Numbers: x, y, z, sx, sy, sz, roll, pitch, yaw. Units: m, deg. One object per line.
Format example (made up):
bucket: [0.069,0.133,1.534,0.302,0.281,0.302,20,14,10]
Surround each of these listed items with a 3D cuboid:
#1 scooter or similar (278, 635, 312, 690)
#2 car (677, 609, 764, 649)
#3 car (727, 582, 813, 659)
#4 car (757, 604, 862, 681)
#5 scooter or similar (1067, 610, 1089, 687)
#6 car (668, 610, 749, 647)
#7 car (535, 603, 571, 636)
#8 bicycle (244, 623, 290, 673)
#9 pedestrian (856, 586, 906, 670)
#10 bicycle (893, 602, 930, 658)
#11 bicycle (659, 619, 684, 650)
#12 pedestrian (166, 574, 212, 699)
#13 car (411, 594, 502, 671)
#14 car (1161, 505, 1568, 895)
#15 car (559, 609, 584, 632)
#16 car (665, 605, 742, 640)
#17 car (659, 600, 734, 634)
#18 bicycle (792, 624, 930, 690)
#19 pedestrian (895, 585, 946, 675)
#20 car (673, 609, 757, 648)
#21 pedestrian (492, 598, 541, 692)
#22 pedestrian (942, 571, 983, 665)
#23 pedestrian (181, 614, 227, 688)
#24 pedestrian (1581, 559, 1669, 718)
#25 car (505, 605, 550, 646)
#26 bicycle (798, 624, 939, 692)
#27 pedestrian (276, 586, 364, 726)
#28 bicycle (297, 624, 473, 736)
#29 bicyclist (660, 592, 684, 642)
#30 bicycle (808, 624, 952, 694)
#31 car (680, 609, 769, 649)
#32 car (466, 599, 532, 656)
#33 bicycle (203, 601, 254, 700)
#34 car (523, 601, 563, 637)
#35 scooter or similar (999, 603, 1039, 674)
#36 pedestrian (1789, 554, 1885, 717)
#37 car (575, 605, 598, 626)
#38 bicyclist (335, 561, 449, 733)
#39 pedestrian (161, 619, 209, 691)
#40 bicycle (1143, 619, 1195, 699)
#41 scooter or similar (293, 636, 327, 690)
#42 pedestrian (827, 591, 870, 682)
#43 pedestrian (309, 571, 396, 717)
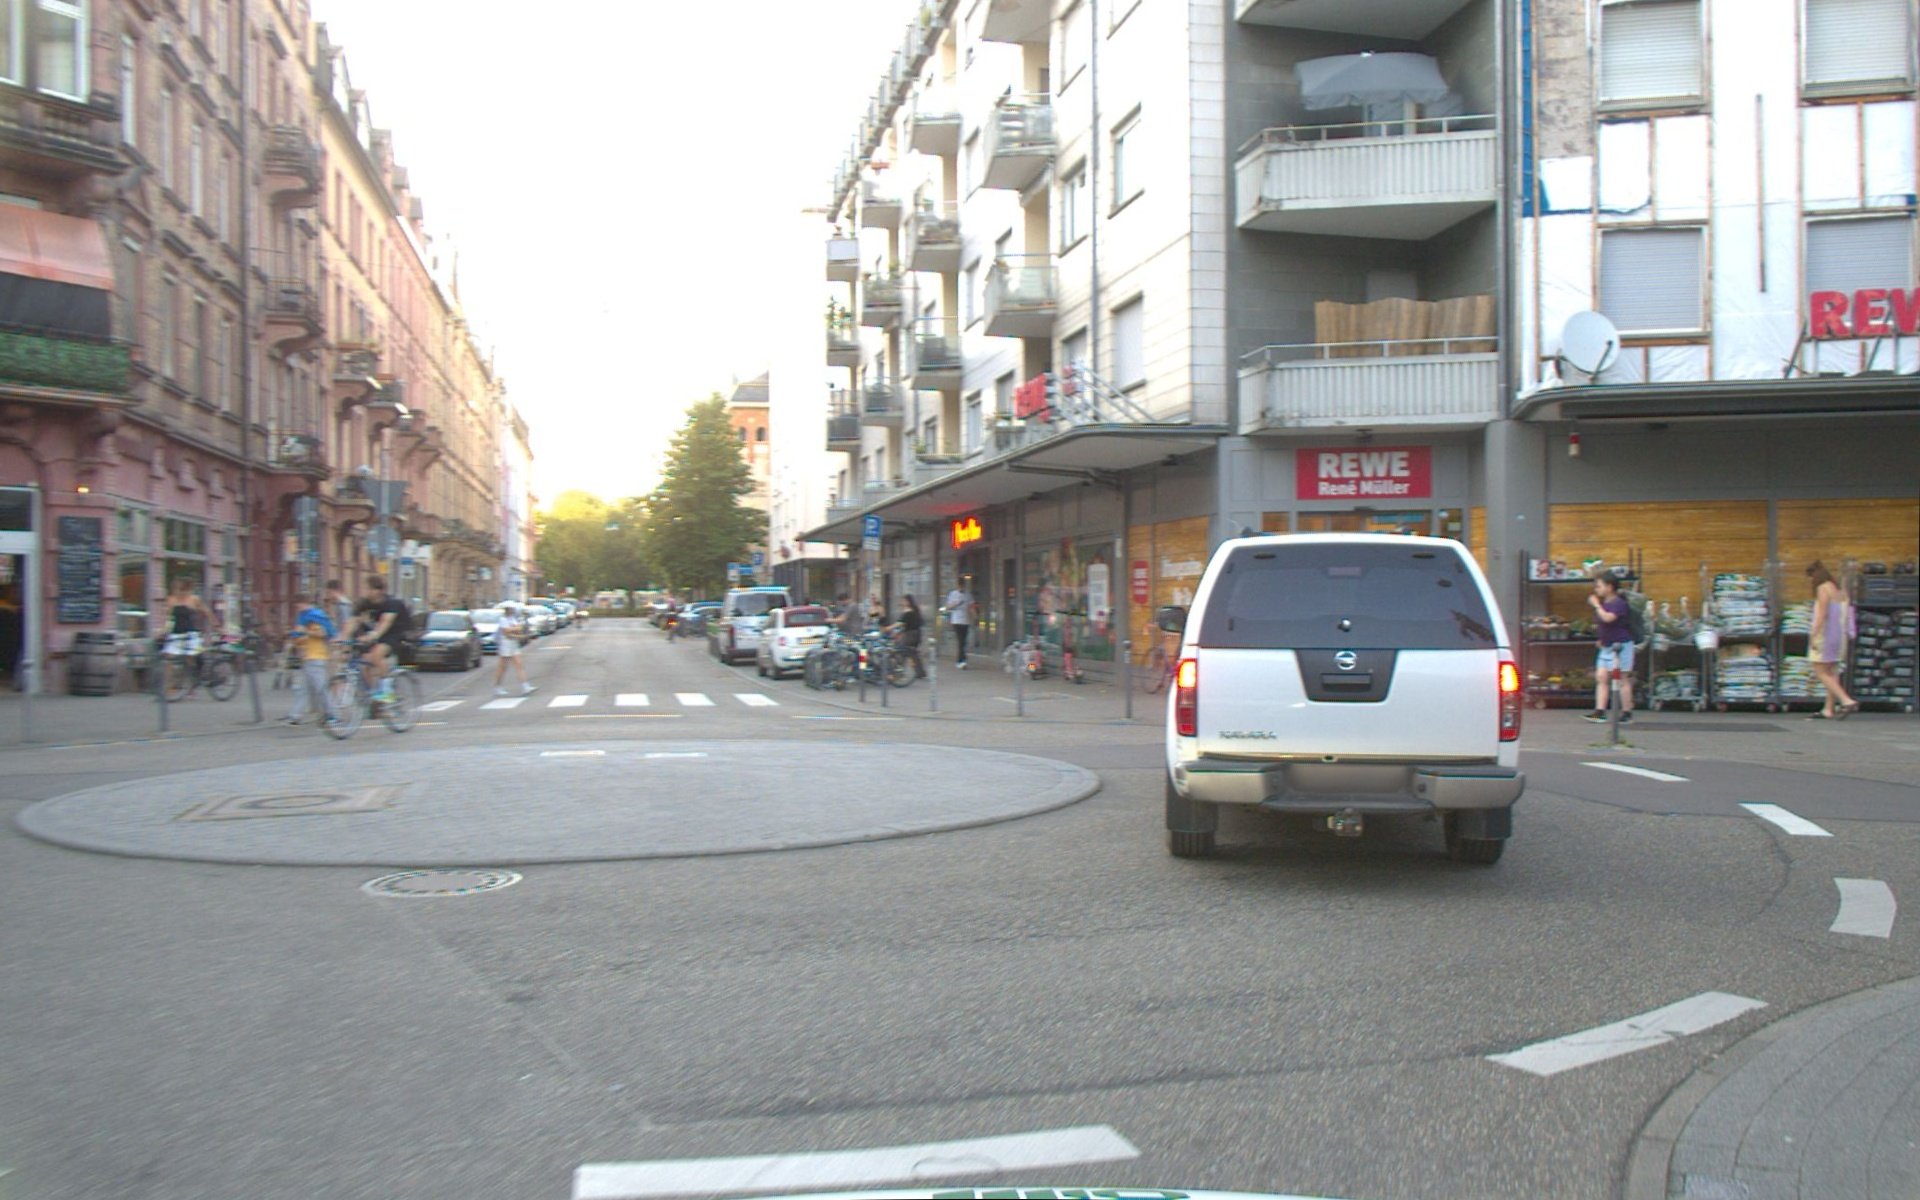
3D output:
scooter or similar: [-11.970,1.120,29.758,0.231,0.945,1.249,2,-1,-36]
car: [-11.283,1.360,77.846,3.918,1.780,1.834,1,-1,-13]
car: [-5.216,0.561,44.919,1.909,1.967,3.987,1,-1,-12]
car: [-3.353,0.908,36.360,1.802,1.569,3.987,1,-1,-12]
scooter or similar: [2.008,0.814,28.122,0.215,1.259,0.965,1,1,-4]
car: [-12.672,1.431,83.228,3.918,1.780,1.834,1,-1,-13]
car: [-22.824,1.085,92.790,1.802,1.780,3.987,1,-1,-12]
bicycle: [-15.160,1.033,36.232,0.380,1.055,2.476,1,-1,-11]
pedestrian: [-1.620,0.570,33.897,0.717,1.692,0.691,2,-2,-44]
bicycle: [-1.291,0.784,43.799,0.546,1.432,2.087,1,-1,-14]
bicycle: [-11.457,1.348,65.635,0.824,1.192,1.929,1,-1,-14]
pedestrian: [-11.757,0.559,25.220,0.499,1.872,0.566,2,-2,-34]
car: [-12.368,0.804,40.825,1.802,1.780,3.987,1,-1,-12]
car: [2.349,0.433,10.454,1.896,1.841,5.005,1,1,10]
car: [-30.902,1.631,131.571,1.802,1.780,3.987,1,-1,-12]
car: [-13.587,1.210,87.498,3.918,1.780,1.834,1,-1,-13]
car: [-14.381,0.934,90.353,3.918,1.780,1.834,1,-1,-13]
bicycle: [-1.809,1.032,30.328,2.422,1.056,0.614,-3,0,-17]
pedestrian: [-0.762,0.572,31.639,0.712,1.692,0.695,2,-1,-30]
car: [-11.934,1.394,80.418,3.918,1.780,1.834,1,-1,-13]
pedestrian: [-7.933,0.801,29.626,0.784,1.649,0.941,1,-1,-14]
pedestrian: [0.055,0.385,35.005,0.707,1.940,0.700,1,-1,-12]
pedestrian: [-13.452,0.902,29.440,0.638,1.308,0.537,1,-1,-16]
pedestrian: [7.221,0.411,17.992,0.701,1.681,0.714,1,-1,5]
car: [-19.847,1.172,75.955,1.802,1.780,3.987,1,-1,-12]
bicycle: [-1.638,1.023,29.682,2.422,1.056,0.614,-3,0,-17]
pedestrian: [-8.235,0.717,21.311,0.887,1.767,0.614,1,-1,-9]
bicycle: [-6.509,0.884,18.837,0.821,1.192,1.936,1,-1,20]
bicyclist: [-11.401,0.669,65.454,0.824,1.978,0.782,1,-1,-14]
bicycle: [-1.404,1.024,29.039,2.422,1.056,0.614,-3,0,-17]
car: [-10.783,1.330,75.671,3.918,1.780,1.834,1,-1,-13]
car: [-15.170,0.893,54.556,1.802,1.780,4.149,1,-1,-12]
bicycle: [-11.272,0.769,25.522,0.417,1.468,1.896,1,-1,-16]
car: [-21.429,1.007,85.124,1.802,1.780,3.987,1,-1,-12]
scooter or similar: [1.129,0.738,31.944,0.431,1.313,1.664,1,-1,-9]
pedestrian: [9.702,0.390,18.315,0.705,1.756,0.666,1,-1,-2]
car: [-32.069,1.334,142.021,1.802,1.780,3.987,1,-1,-12]
bicyclist: [-6.484,0.527,18.903,0.821,1.909,0.878,0,-1,21]
pedestrian: [-13.245,0.933,28.274,0.638,1.212,0.537,1,-1,-16]
bicycle: [3.046,0.850,24.117,0.285,1.132,0.959,2,-1,-24]
scooter or similar: [-11.766,1.126,29.919,0.231,0.945,1.249,2,-1,-36]
pedestrian: [-2.103,0.690,31.208,0.707,1.692,0.700,1,-1,-12]
pedestrian: [-8.168,0.588,22.234,0.899,1.918,0.606,2,-2,-43]
